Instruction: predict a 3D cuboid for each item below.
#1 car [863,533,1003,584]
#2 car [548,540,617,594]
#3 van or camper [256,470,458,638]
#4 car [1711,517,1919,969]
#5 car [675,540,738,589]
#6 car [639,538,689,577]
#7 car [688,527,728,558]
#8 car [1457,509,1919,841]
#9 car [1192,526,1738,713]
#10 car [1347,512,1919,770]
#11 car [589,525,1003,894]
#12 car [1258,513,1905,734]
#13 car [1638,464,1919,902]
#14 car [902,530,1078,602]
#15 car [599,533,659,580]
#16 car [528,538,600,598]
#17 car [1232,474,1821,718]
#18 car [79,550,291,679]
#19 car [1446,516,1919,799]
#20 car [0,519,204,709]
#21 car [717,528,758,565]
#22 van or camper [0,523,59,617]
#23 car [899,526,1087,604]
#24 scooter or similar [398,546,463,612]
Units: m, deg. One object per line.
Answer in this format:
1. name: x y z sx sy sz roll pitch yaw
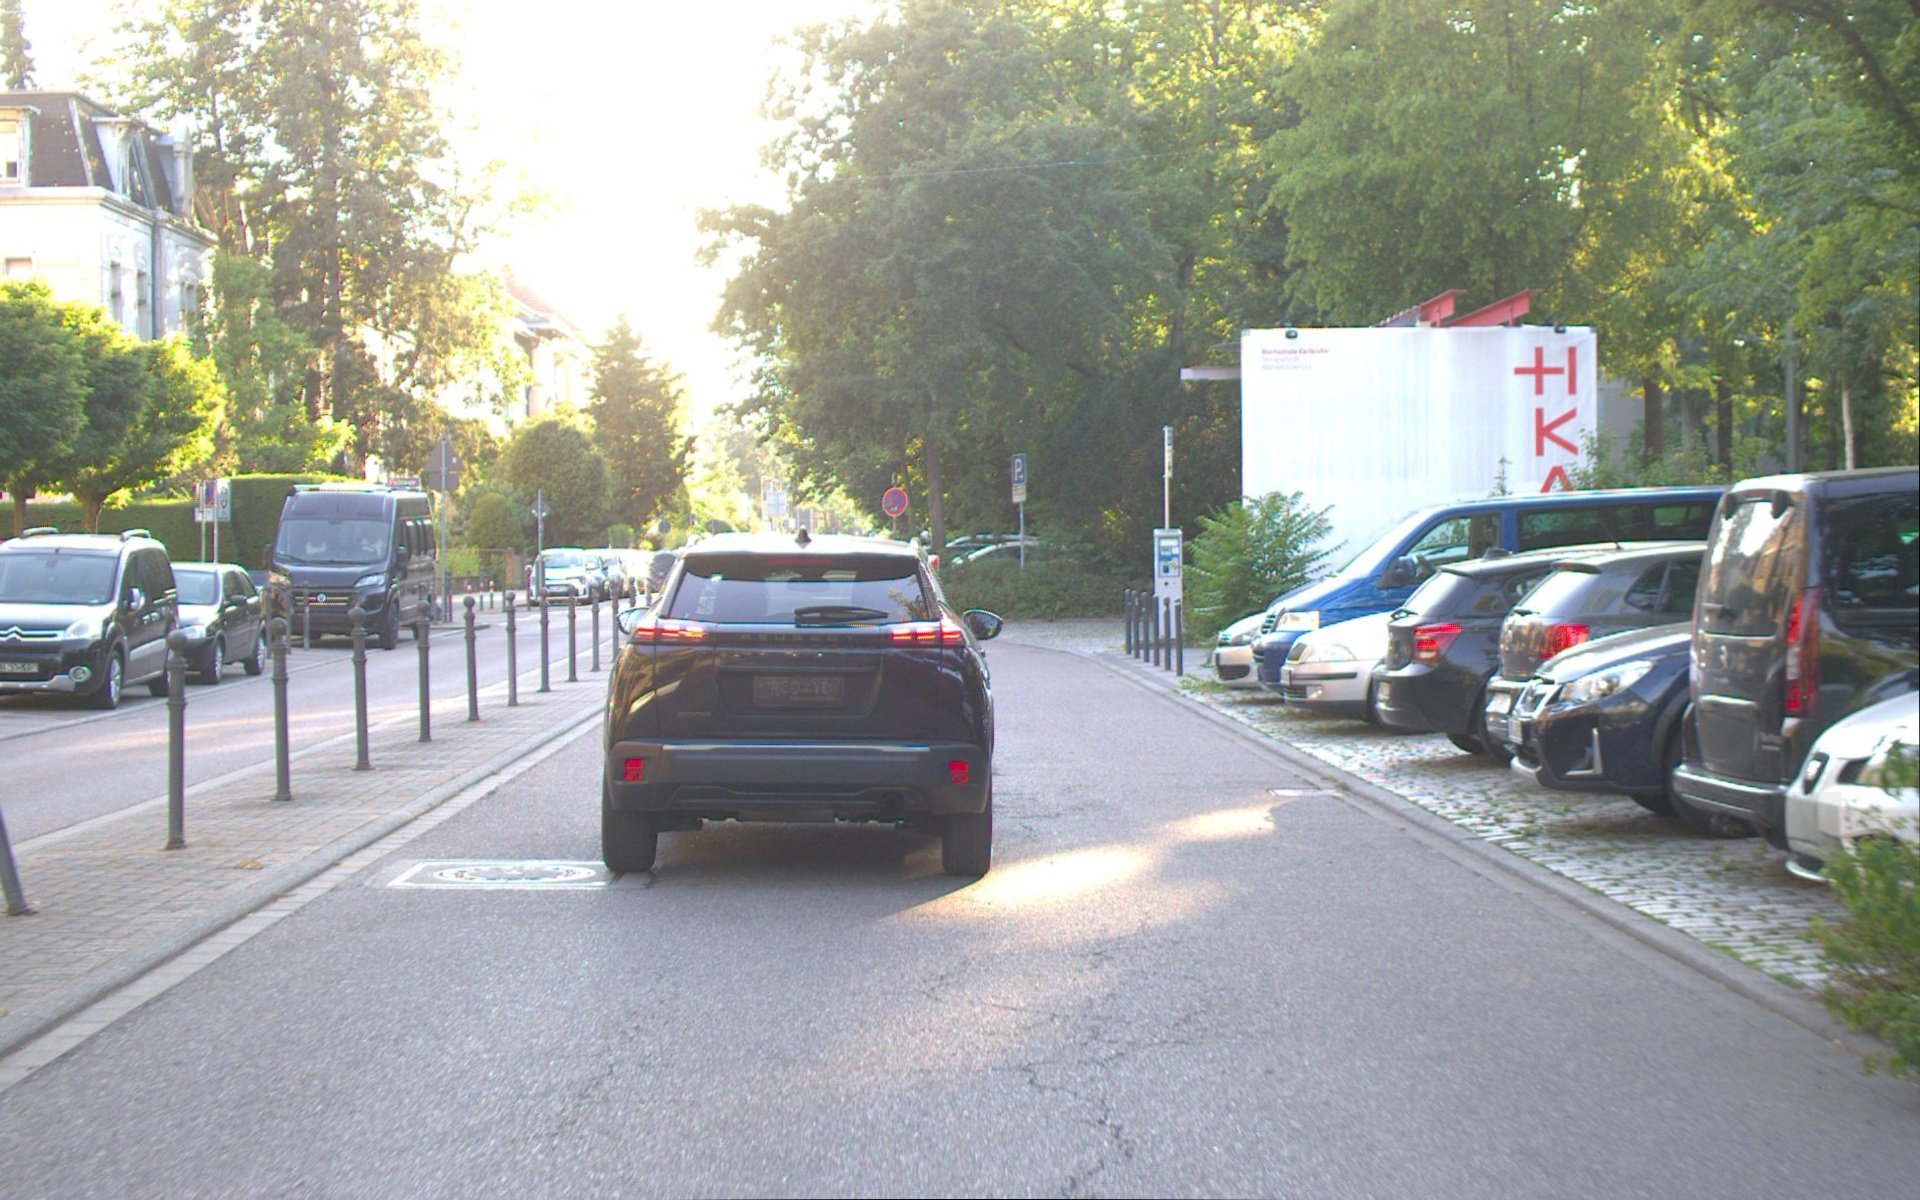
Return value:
1. car: -0.853 -1.297 107.252 4.242 1.444 2.022 -2 1 -3
2. car: -10.673 -0.951 97.297 1.613 1.480 3.742 -1 1 -2
3. van or camper: -9.780 -0.762 56.340 2.229 2.535 7.080 1 1 -2
4. car: 5.228 0.399 12.896 4.362 1.548 1.727 -3 1 -2
5. car: -7.885 -1.113 107.112 1.741 1.453 4.624 -1 1 -2
6. car: -11.538 -1.659 134.316 1.752 1.409 3.765 -2 1 -3
7. car: -13.127 -3.002 179.129 1.899 1.568 4.000 0 1 -2
8. car: 4.967 0.306 17.991 4.362 1.548 1.876 -3 1 -2
9. car: 4.839 0.161 33.386 4.926 1.548 1.916 -3 1 -2
10. car: 5.007 0.241 23.694 4.362 1.532 1.921 -3 1 -2
11. car: -0.751 0.430 16.909 1.771 1.563 4.109 1 1 -1
12. car: 5.065 0.167 28.490 4.926 1.548 1.916 -3 1 -2
13. car: 5.412 0.245 15.181 4.362 1.774 1.921 -3 1 -2
14. car: 0.668 -0.796 79.236 3.987 1.549 1.752 -1 2 -1
15. car: -10.875 -1.437 113.181 1.613 1.461 4.036 -1 1 -1
16. car: -10.511 -0.858 91.512 1.613 1.510 3.712 -2 1 -3
17. car: 5.003 -0.056 30.805 4.852 1.909 1.916 -3 1 -2
18. car: -9.558 0.141 42.653 1.696 1.465 3.854 2 1 0
19. car: 5.351 0.284 21.101 4.362 1.532 1.921 -3 1 -2
20. car: -9.471 0.093 36.890 1.777 1.859 4.333 2 1 -1
21. car: -12.299 -2.979 190.270 1.993 2.007 4.000 0 1 0
22. van or camper: -23.195 -0.681 78.306 4.768 1.979 2.001 -1 5 1
23. car: 0.691 -0.766 74.132 3.987 1.549 1.726 -1 2 -1
24. scooter or similar: -10.218 -0.411 66.417 0.431 1.270 1.341 0 1 34
